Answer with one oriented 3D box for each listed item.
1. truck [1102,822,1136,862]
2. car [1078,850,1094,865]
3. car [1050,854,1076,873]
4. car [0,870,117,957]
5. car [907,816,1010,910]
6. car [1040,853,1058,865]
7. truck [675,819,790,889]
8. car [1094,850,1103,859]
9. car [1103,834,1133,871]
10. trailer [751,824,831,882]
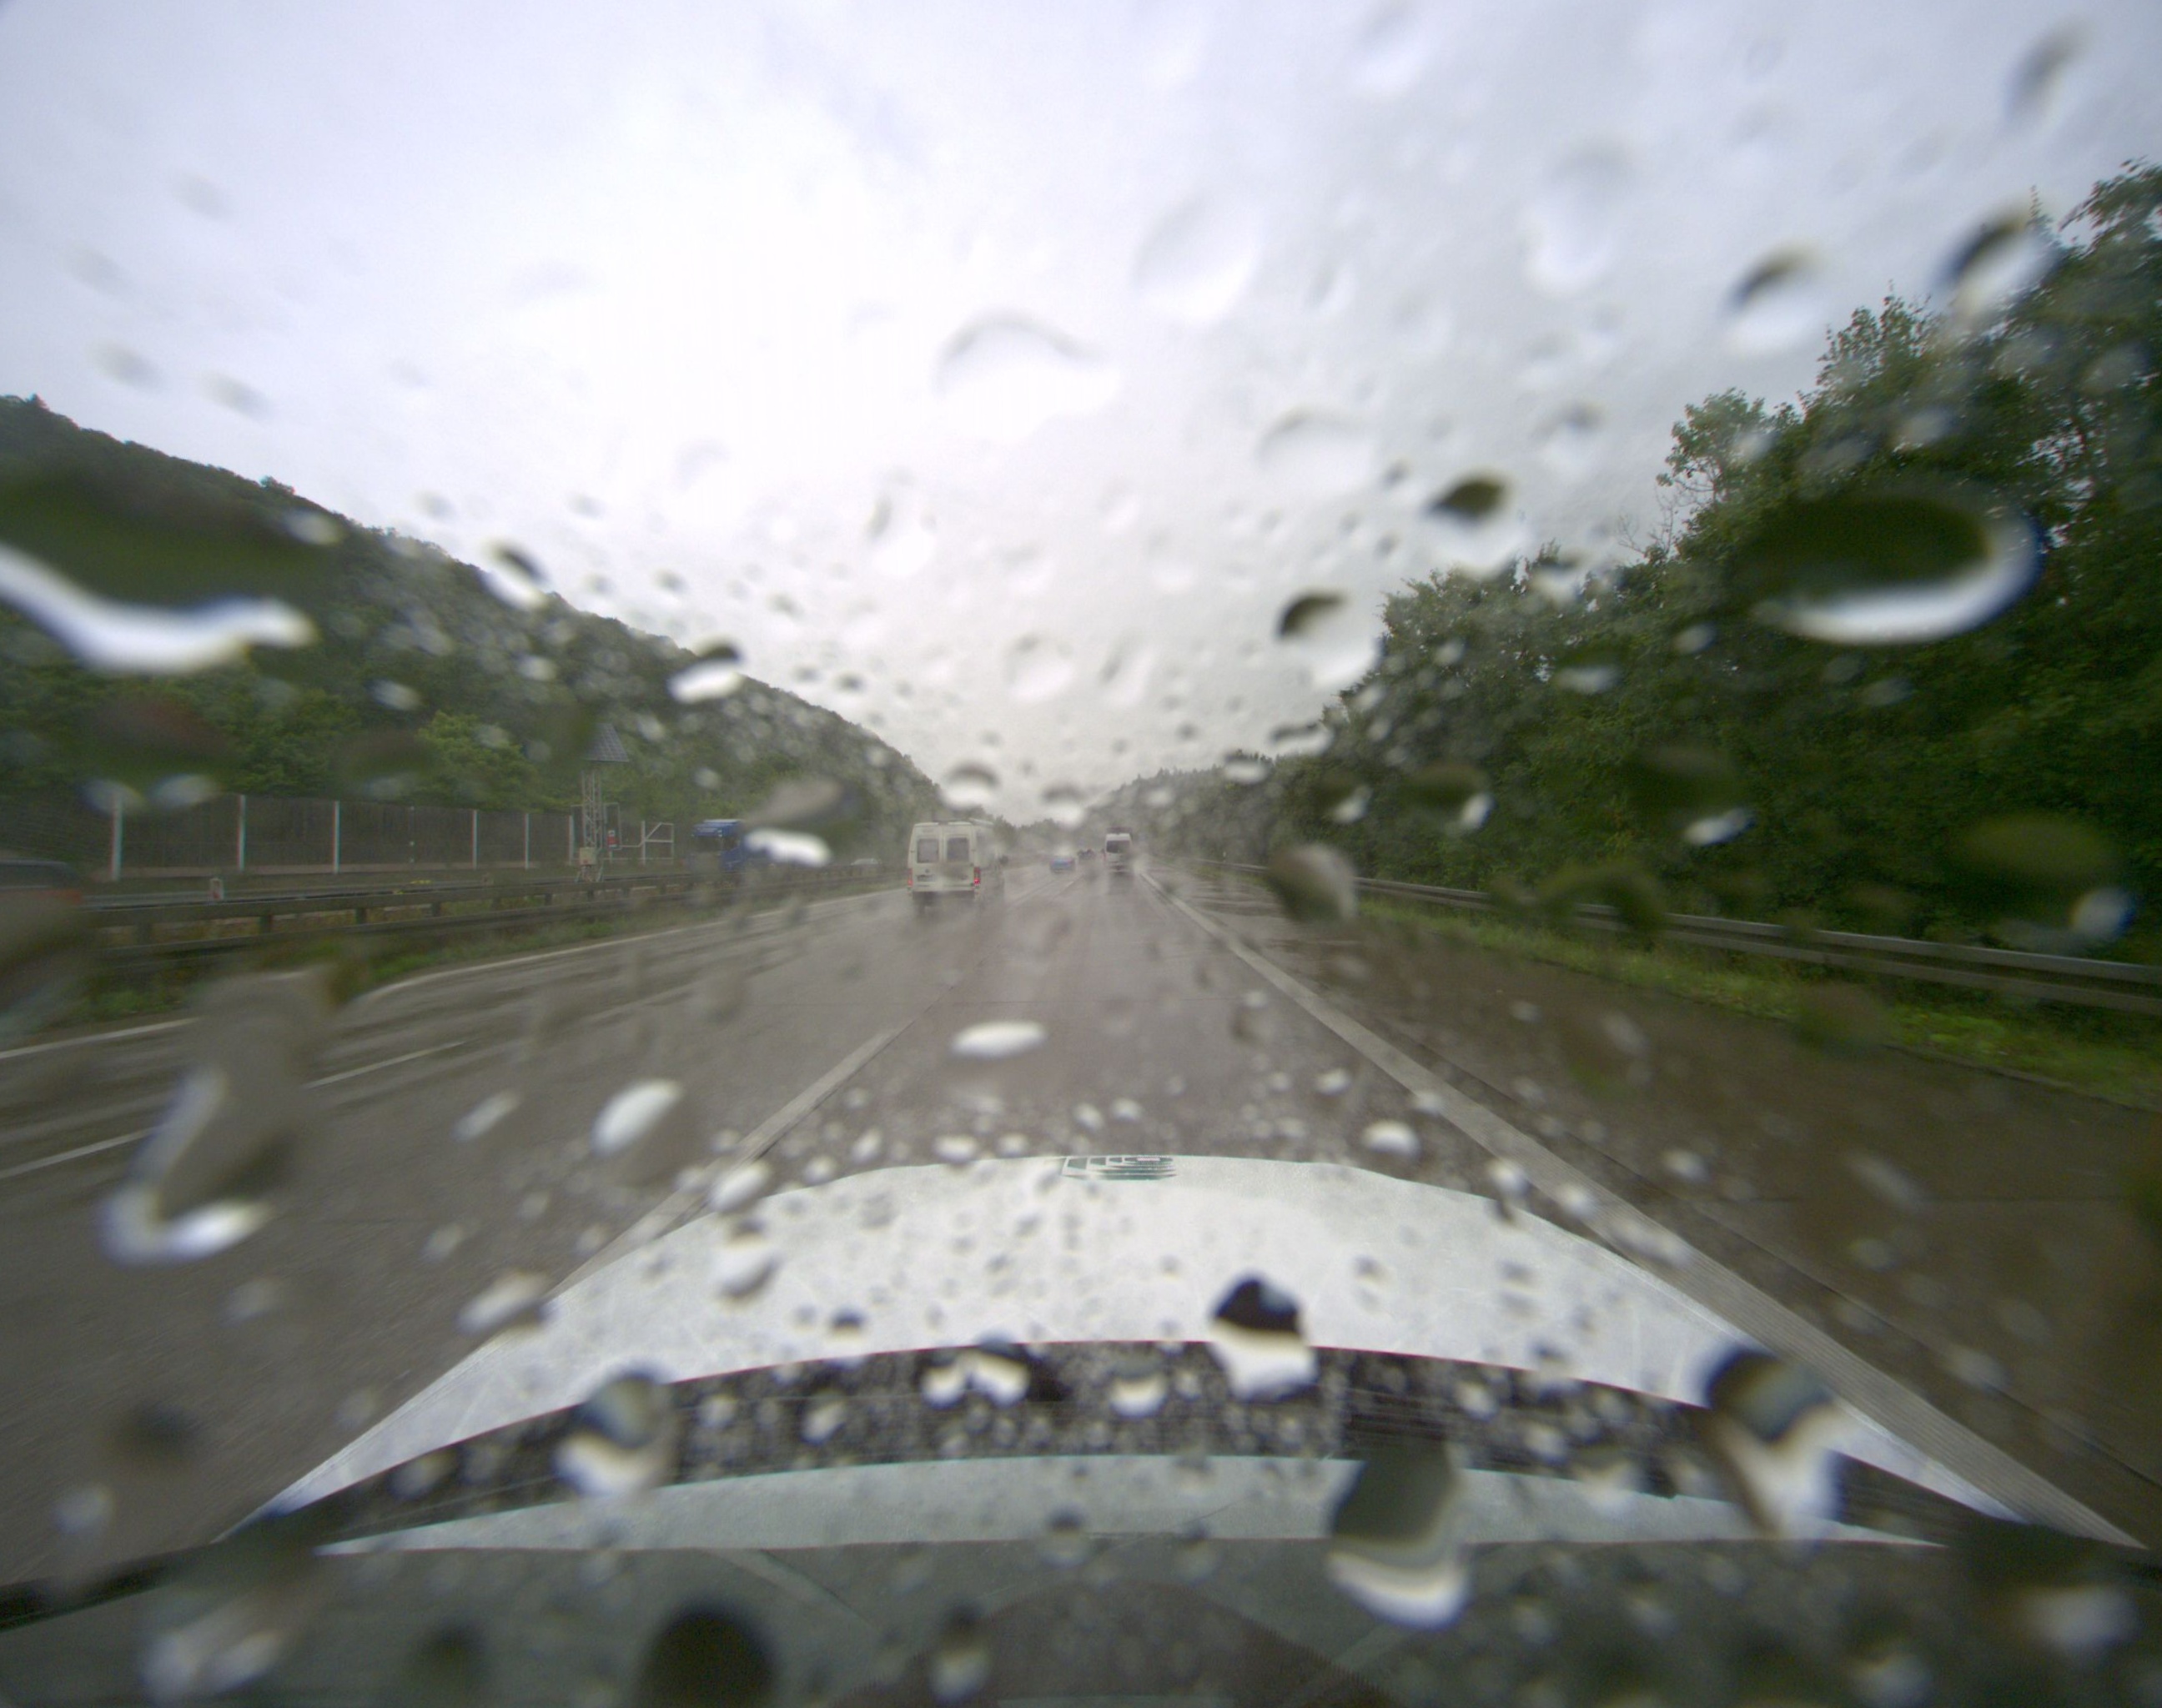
[{"bbox_3d":[3.981,-1.359,85.930,3.372,3.967,8.673,-2,2,2],"label":"truck"},{"bbox_3d":[0.633,0.414,97.871,1.862,1.810,4.190,0,0,1],"label":"car"},{"bbox_3d":[-1.339,0.674,61.167,1.850,1.339,4.350,0,0,-1],"label":"car"},{"bbox_3d":[-20.402,1.110,13.797,1.746,1.531,5.273,0,0,2],"label":"car"},{"bbox_3d":[-3.438,0.210,24.033,1.990,2.431,5.793,0,0,1],"label":"car"},{"bbox_3d":[-3.571,0.535,91.235,1.850,1.339,4.350,0,0,0],"label":"car"},{"bbox_3d":[-22.541,-0.051,53.541,2.837,4.154,10.183,0,0,2],"label":"truck"},{"bbox_3d":[3.048,0.035,143.726,1.608,1.627,4.190,0,0,1],"label":"car"},{"bbox_3d":[2.440,-0.109,55.007,1.892,2.334,5.252,0,0,1],"label":"car"},{"bbox_3d":[-22.168,-0.069,62.913,2.837,4.154,8.529,0,0,2],"label":"trailer"}]
